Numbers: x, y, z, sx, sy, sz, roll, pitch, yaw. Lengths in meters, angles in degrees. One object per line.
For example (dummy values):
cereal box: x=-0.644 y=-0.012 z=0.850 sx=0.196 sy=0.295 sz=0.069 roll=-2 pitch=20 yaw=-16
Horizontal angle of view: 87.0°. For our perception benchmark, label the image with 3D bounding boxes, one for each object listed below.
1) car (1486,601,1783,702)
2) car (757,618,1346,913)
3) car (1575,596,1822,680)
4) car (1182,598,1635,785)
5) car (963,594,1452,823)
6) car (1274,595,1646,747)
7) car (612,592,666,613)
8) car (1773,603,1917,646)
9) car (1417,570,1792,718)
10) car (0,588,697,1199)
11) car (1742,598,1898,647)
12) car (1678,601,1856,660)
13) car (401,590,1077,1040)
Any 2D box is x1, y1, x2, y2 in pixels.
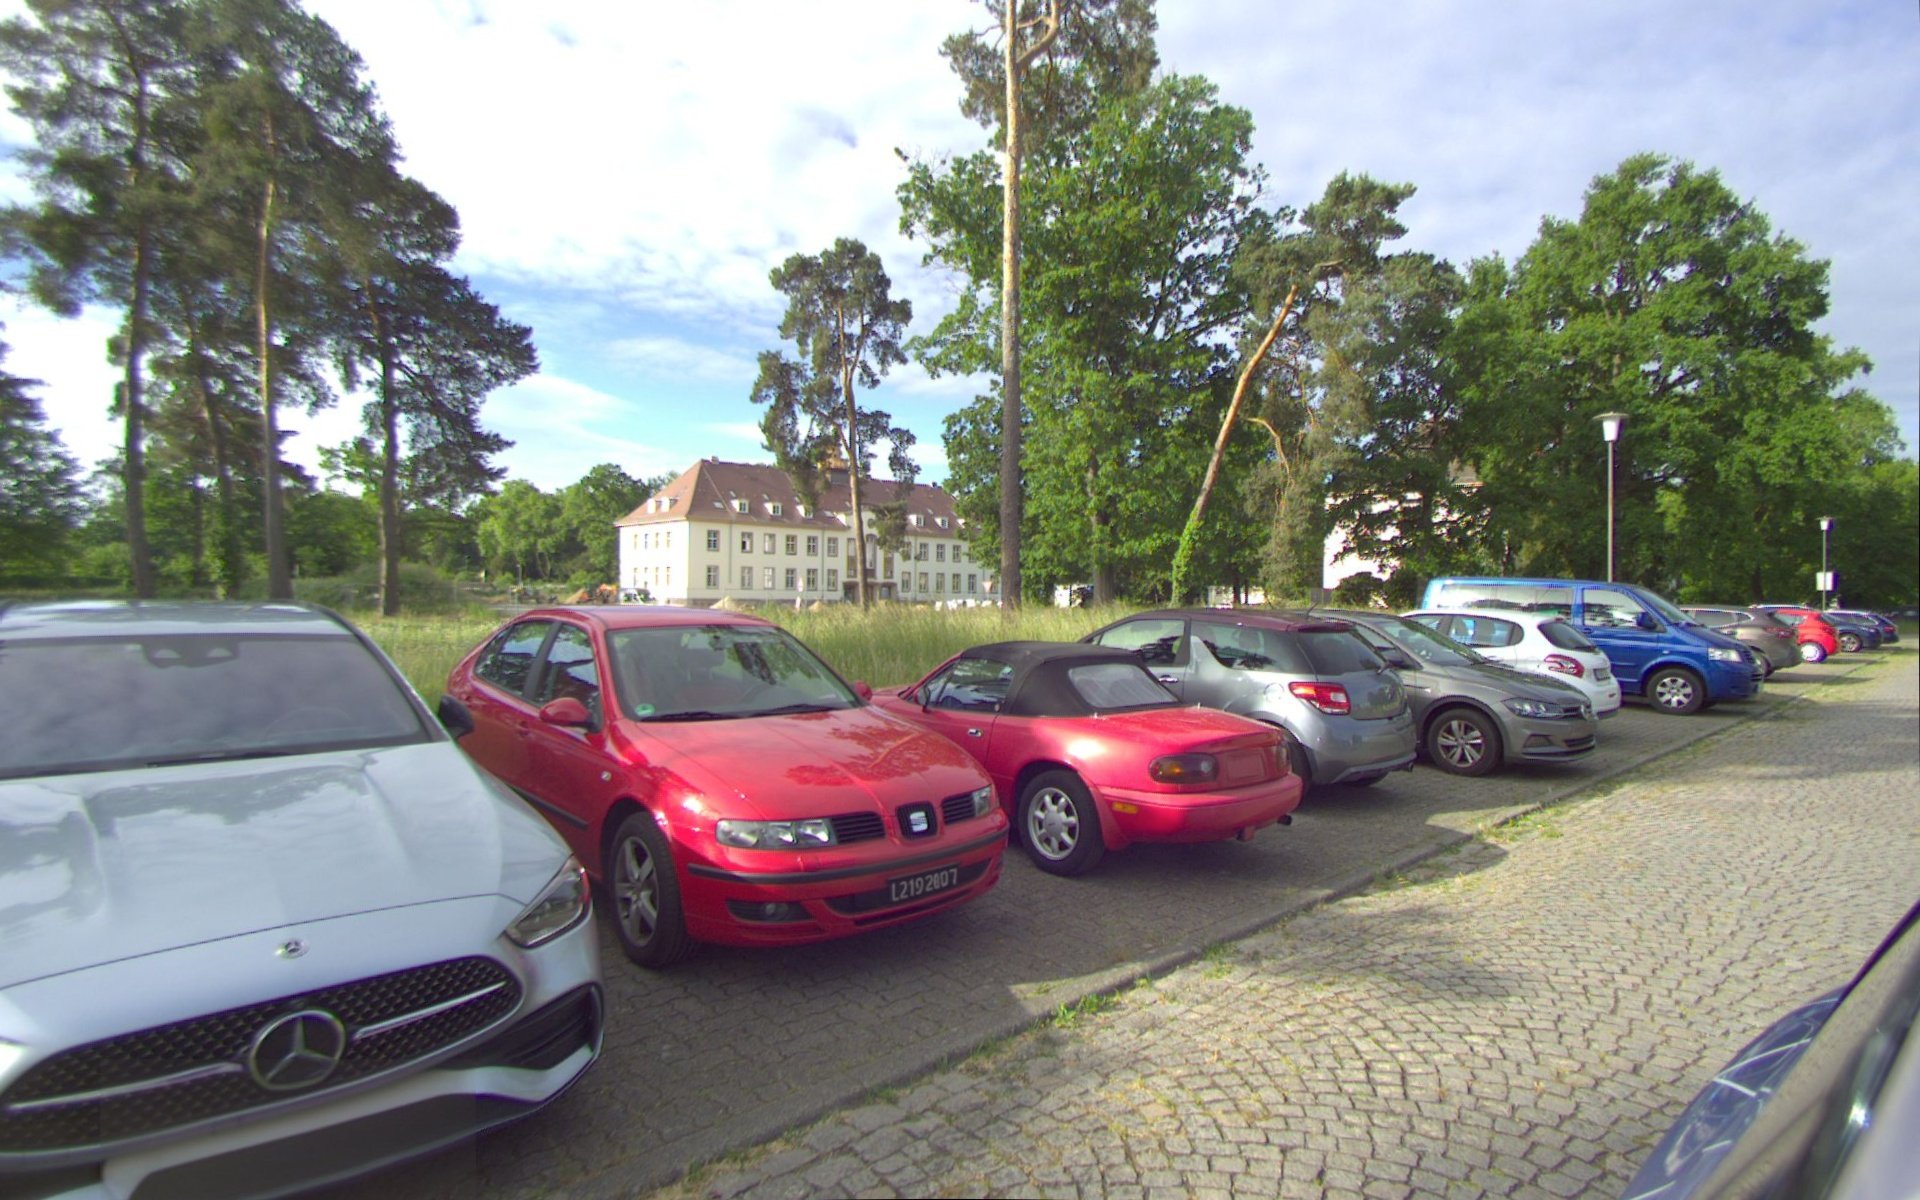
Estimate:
car: x=11.930 y=0.814 z=18.079 sx=4.190 sy=1.488 sz=1.780 roll=1 pitch=1 yaw=43
car: x=0.375 y=0.848 z=6.993 sx=1.697 sy=1.276 sz=3.956 roll=0 pitch=1 yaw=-43
car: x=16.334 y=0.761 z=22.521 sx=1.847 sy=1.608 sz=4.194 roll=0 pitch=1 yaw=-44
car: x=4.502 y=0.771 z=10.587 sx=1.800 sy=1.486 sz=3.956 roll=0 pitch=1 yaw=-43
car: x=2.005 y=0.739 z=9.053 sx=1.742 sy=1.514 sz=3.956 roll=0 pitch=1 yaw=-43
car: x=6.214 y=0.753 z=12.872 sx=1.777 sy=1.549 sz=3.879 roll=0 pitch=1 yaw=-43
car: x=-32.117 y=0.233 z=101.118 sx=5.639 sy=2.039 sz=2.595 roll=0 pitch=0 yaw=40
car: x=34.455 y=0.899 z=39.481 sx=1.752 sy=1.469 sz=4.033 roll=0 pitch=1 yaw=-41
car: x=10.198 y=0.545 z=16.318 sx=1.959 sy=1.952 sz=4.738 roll=0 pitch=2 yaw=-44
car: x=-2.937 y=0.727 z=3.846 sx=1.819 sy=1.492 sz=4.511 roll=0 pitch=1 yaw=-43
car: x=30.938 y=0.749 z=36.483 sx=1.718 sy=1.588 sz=4.129 roll=0 pitch=1 yaw=-44
car: x=23.530 y=0.838 z=29.599 sx=1.659 sy=1.491 sz=3.880 roll=0 pitch=2 yaw=-44
car: x=-1.567 y=0.716 z=5.651 sx=1.711 sy=1.492 sz=4.345 roll=0 pitch=1 yaw=-43
